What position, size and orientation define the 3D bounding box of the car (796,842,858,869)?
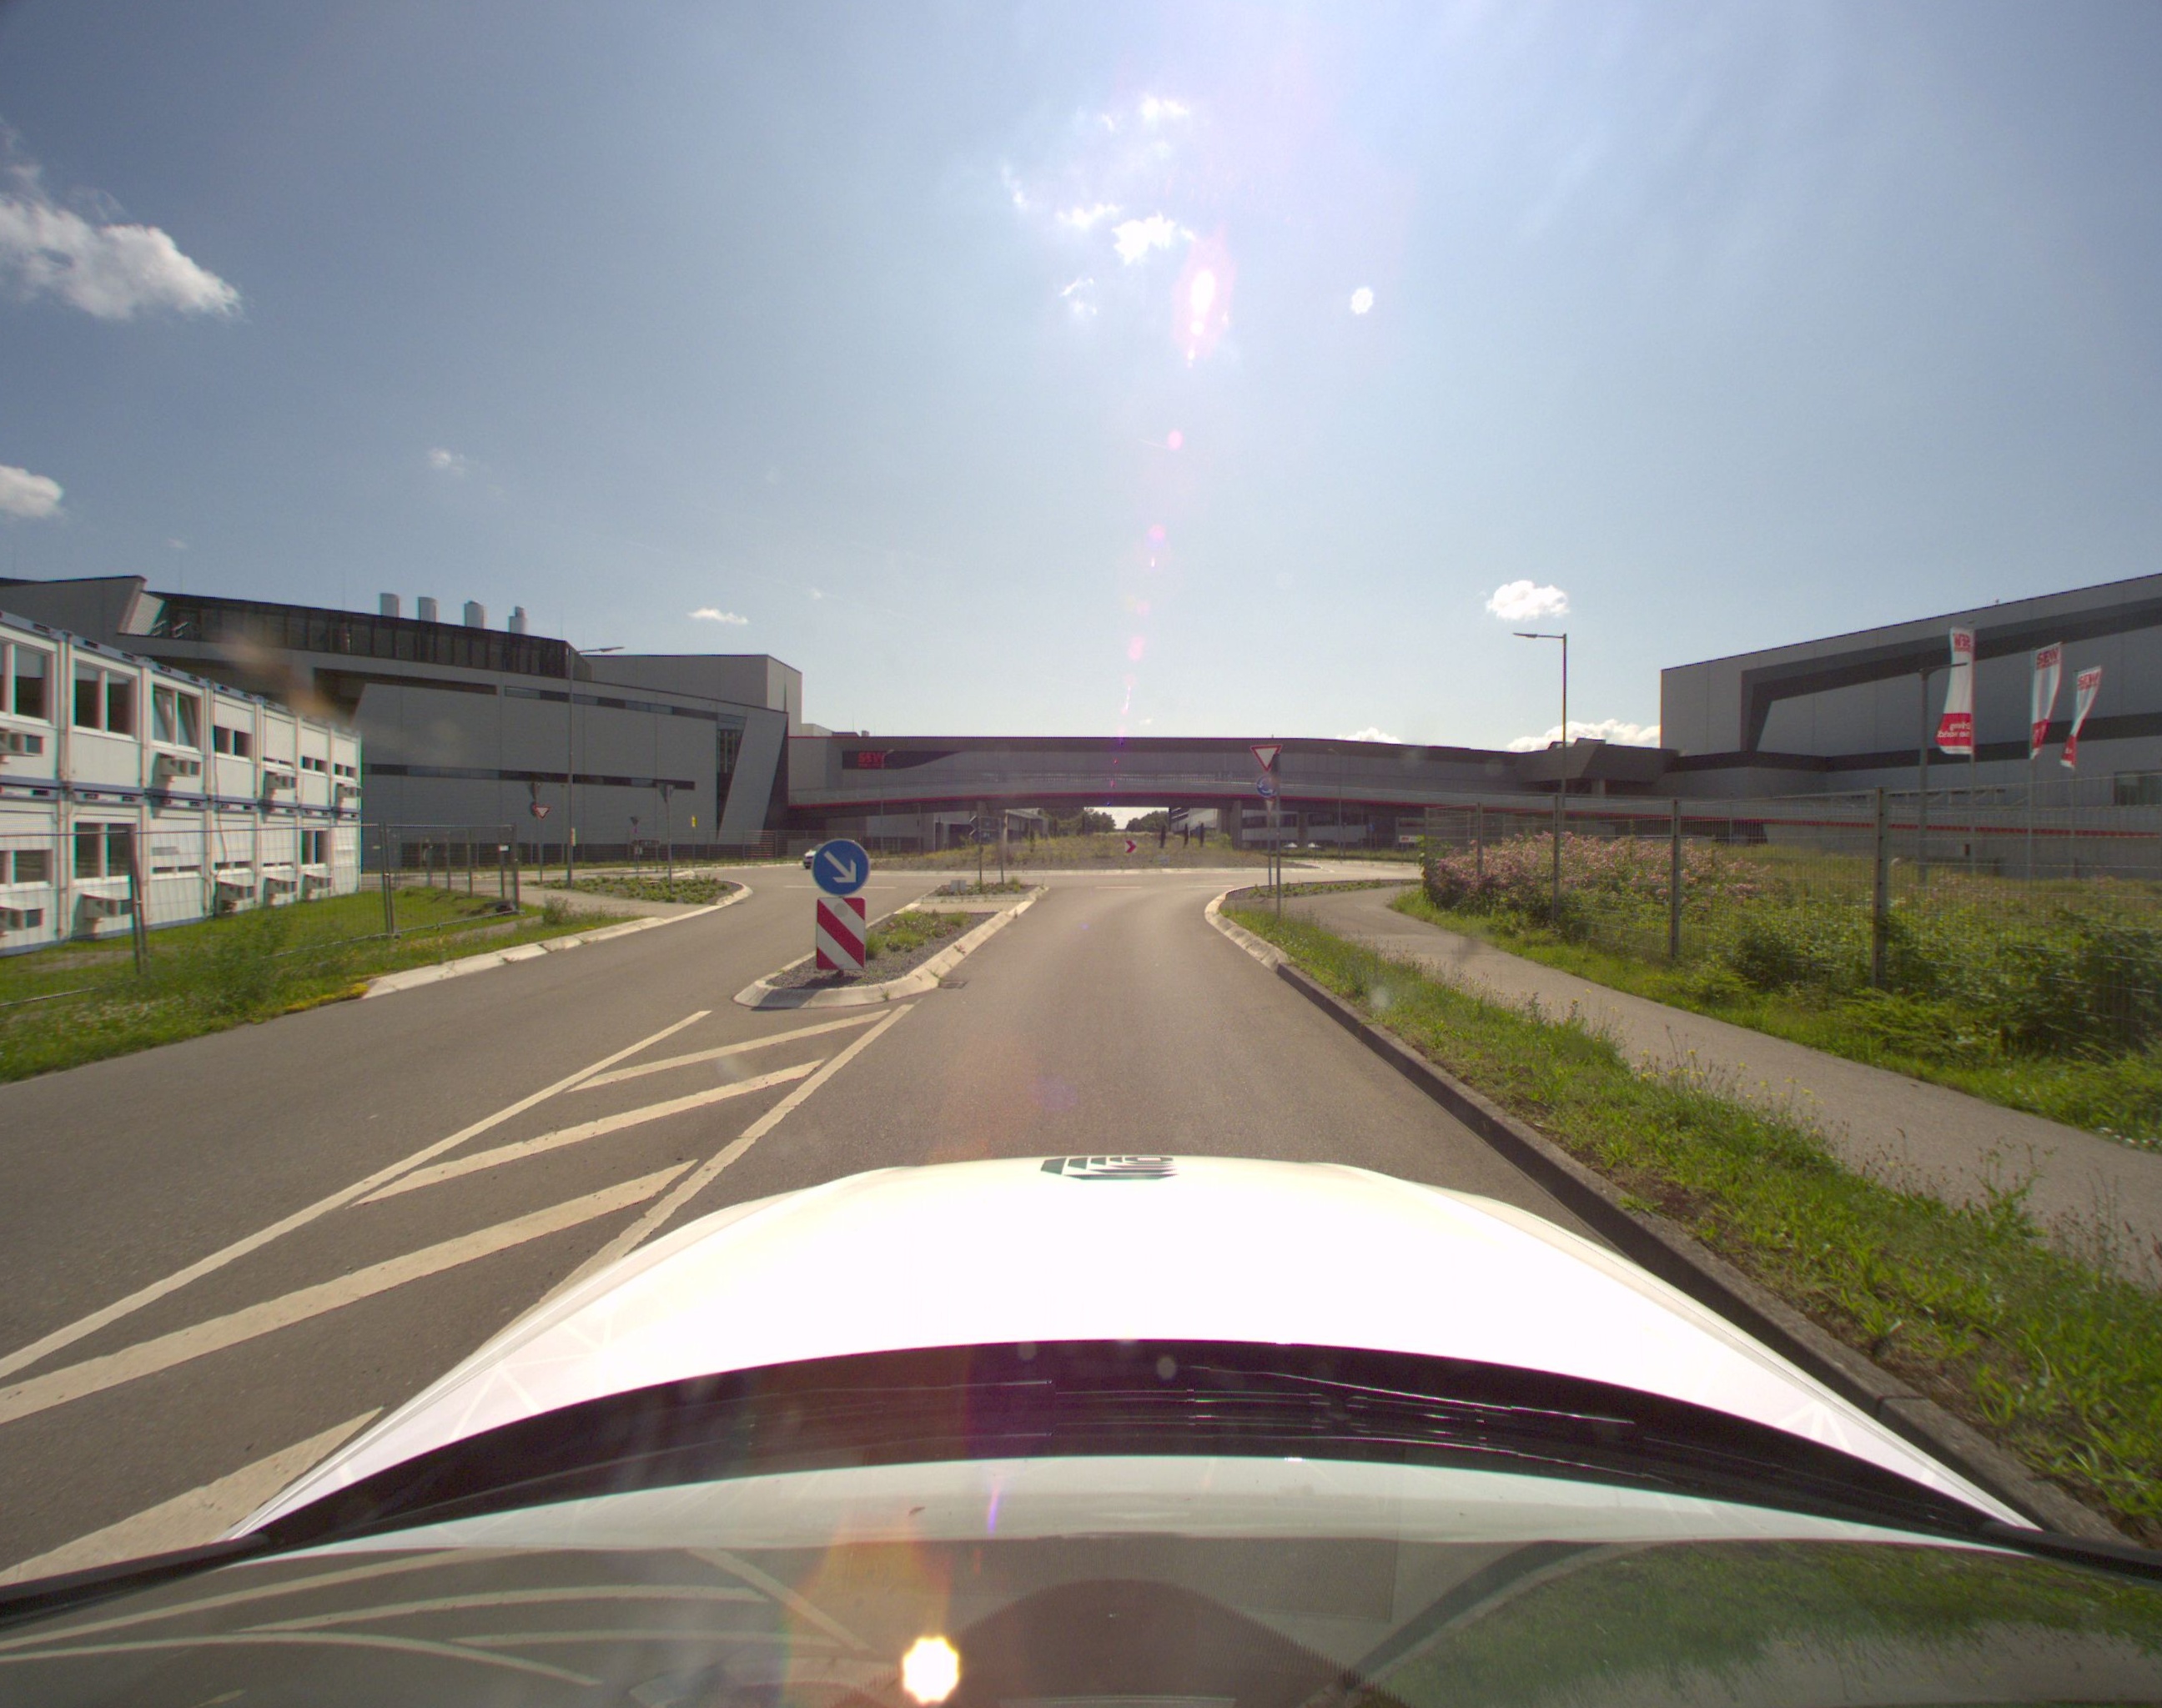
[{"bbox_3d":[-14.317,0.063,46.192,1.760,1.428,4.061,-1,0,8],"label":"car"}]
